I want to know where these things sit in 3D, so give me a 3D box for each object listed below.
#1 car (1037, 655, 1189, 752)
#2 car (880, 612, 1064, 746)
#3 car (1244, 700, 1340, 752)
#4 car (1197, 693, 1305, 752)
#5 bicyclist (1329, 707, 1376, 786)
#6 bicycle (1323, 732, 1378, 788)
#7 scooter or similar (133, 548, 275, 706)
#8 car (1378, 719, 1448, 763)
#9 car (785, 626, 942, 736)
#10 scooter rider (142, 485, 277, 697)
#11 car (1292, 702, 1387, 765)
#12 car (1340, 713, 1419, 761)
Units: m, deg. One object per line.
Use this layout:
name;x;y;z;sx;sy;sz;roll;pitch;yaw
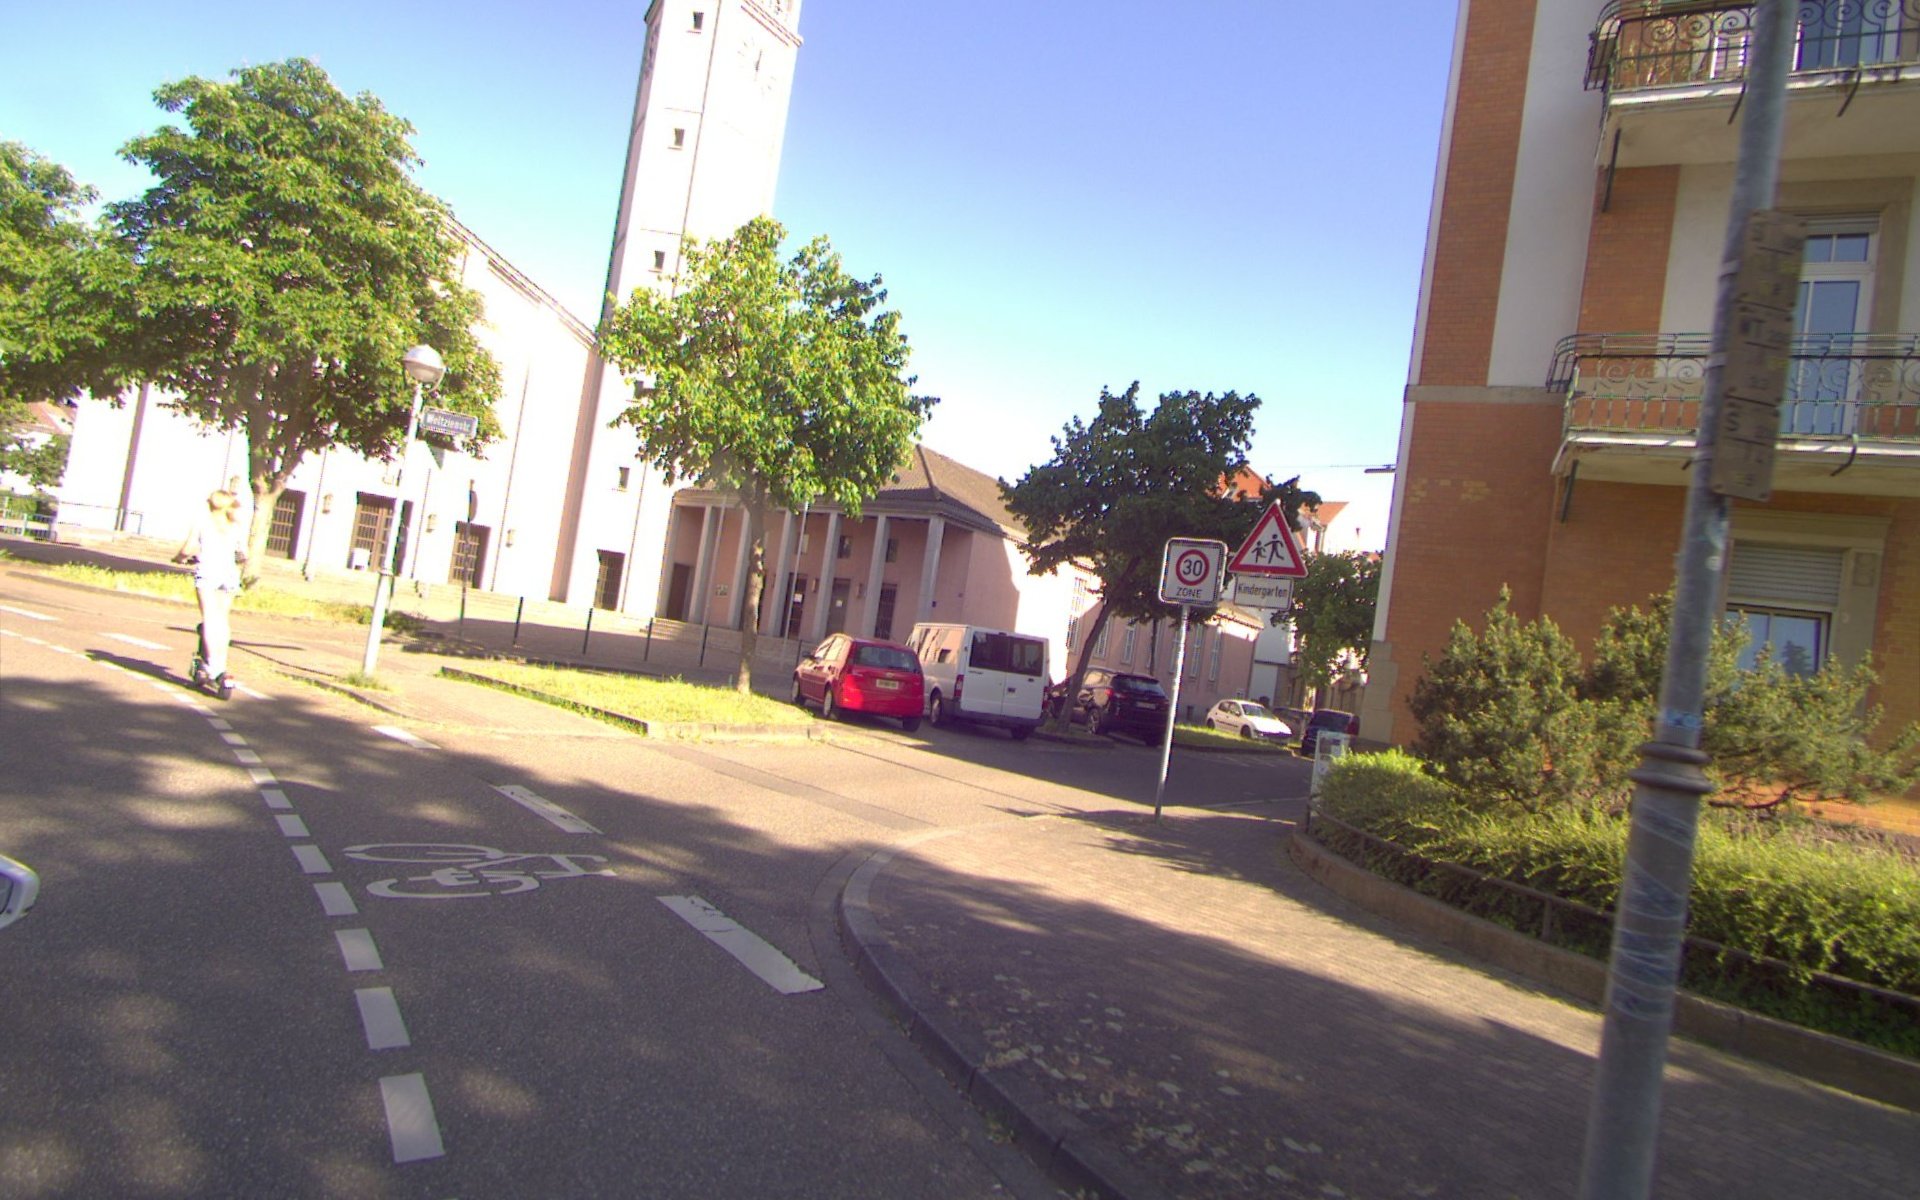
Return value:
car;3.655;2.471;24.763;1.739;1.757;3.937;10;-3;-22
car;0.079;1.469;20.285;1.967;2.068;4.688;9;-3;-19
car;13.975;5.300;42.556;1.737;1.513;3.943;9;-3;-17
car;10.518;4.414;36.656;1.737;1.513;3.943;9;-3;-17
bicyclist;8.997;3.361;23.072;0.687;1.679;0.649;7;-2;34
bicycle;8.981;3.670;23.103;0.687;1.119;1.871;7;-3;33
scooter or similar;-7.058;0.242;9.389;1.089;1.297;0.631;7;-2;37
car;19.464;6.071;43.135;1.735;1.472;3.947;7;-3;38
car;-1.832;1.373;18.016;1.648;1.451;3.679;10;-3;-22
scooter rider;-7.007;-0.078;9.401;0.622;1.852;0.624;7;-2;37
car;12.643;4.450;33.353;1.735;1.675;3.947;7;-3;38
car;16.311;5.348;39.011;1.735;1.472;3.947;7;-3;38
